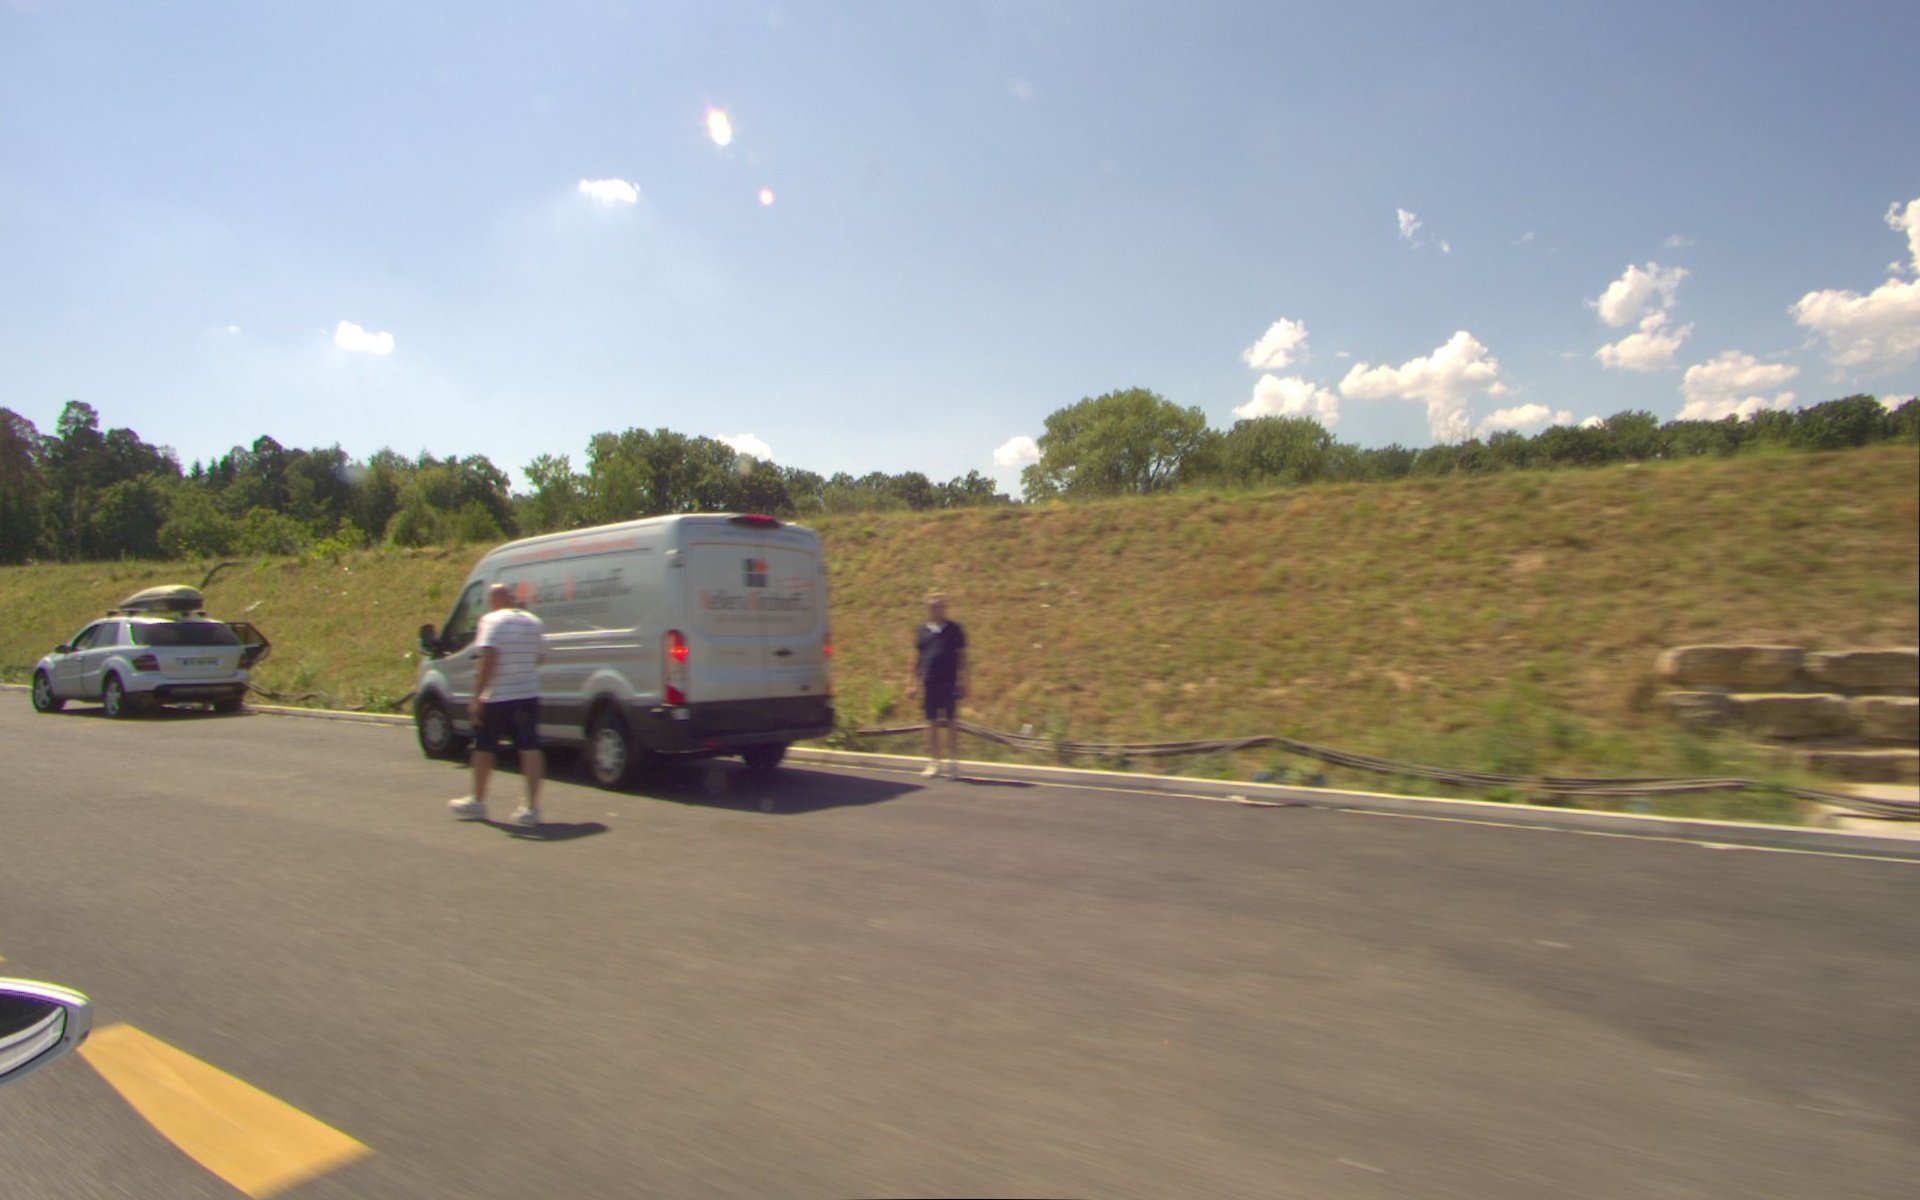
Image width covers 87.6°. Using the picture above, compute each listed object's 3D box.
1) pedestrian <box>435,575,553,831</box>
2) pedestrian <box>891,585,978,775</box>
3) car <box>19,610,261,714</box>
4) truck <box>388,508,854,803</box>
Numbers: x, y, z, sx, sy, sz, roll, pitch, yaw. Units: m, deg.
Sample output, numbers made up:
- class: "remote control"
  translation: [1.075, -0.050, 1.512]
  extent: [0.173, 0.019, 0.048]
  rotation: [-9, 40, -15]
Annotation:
- class: "pedestrian"
  translation: [-3.622, 0.768, 7.776]
  extent: [0.717, 1.851, 0.715]
  rotation: [1, -2, -36]
- class: "pedestrian"
  translation: [-0.256, 0.782, 10.007]
  extent: [0.657, 1.818, 0.563]
  rotation: [-2, -2, 30]
- class: "car"
  translation: [-15.212, 1.075, 18.521]
  extent: [4.780, 1.698, 1.774]
  rotation: [0, -2, 29]
- class: "truck"
  translation: [-4.003, 0.549, 11.134]
  extent: [5.854, 2.488, 2.121]
  rotation: [-1, -2, 39]
